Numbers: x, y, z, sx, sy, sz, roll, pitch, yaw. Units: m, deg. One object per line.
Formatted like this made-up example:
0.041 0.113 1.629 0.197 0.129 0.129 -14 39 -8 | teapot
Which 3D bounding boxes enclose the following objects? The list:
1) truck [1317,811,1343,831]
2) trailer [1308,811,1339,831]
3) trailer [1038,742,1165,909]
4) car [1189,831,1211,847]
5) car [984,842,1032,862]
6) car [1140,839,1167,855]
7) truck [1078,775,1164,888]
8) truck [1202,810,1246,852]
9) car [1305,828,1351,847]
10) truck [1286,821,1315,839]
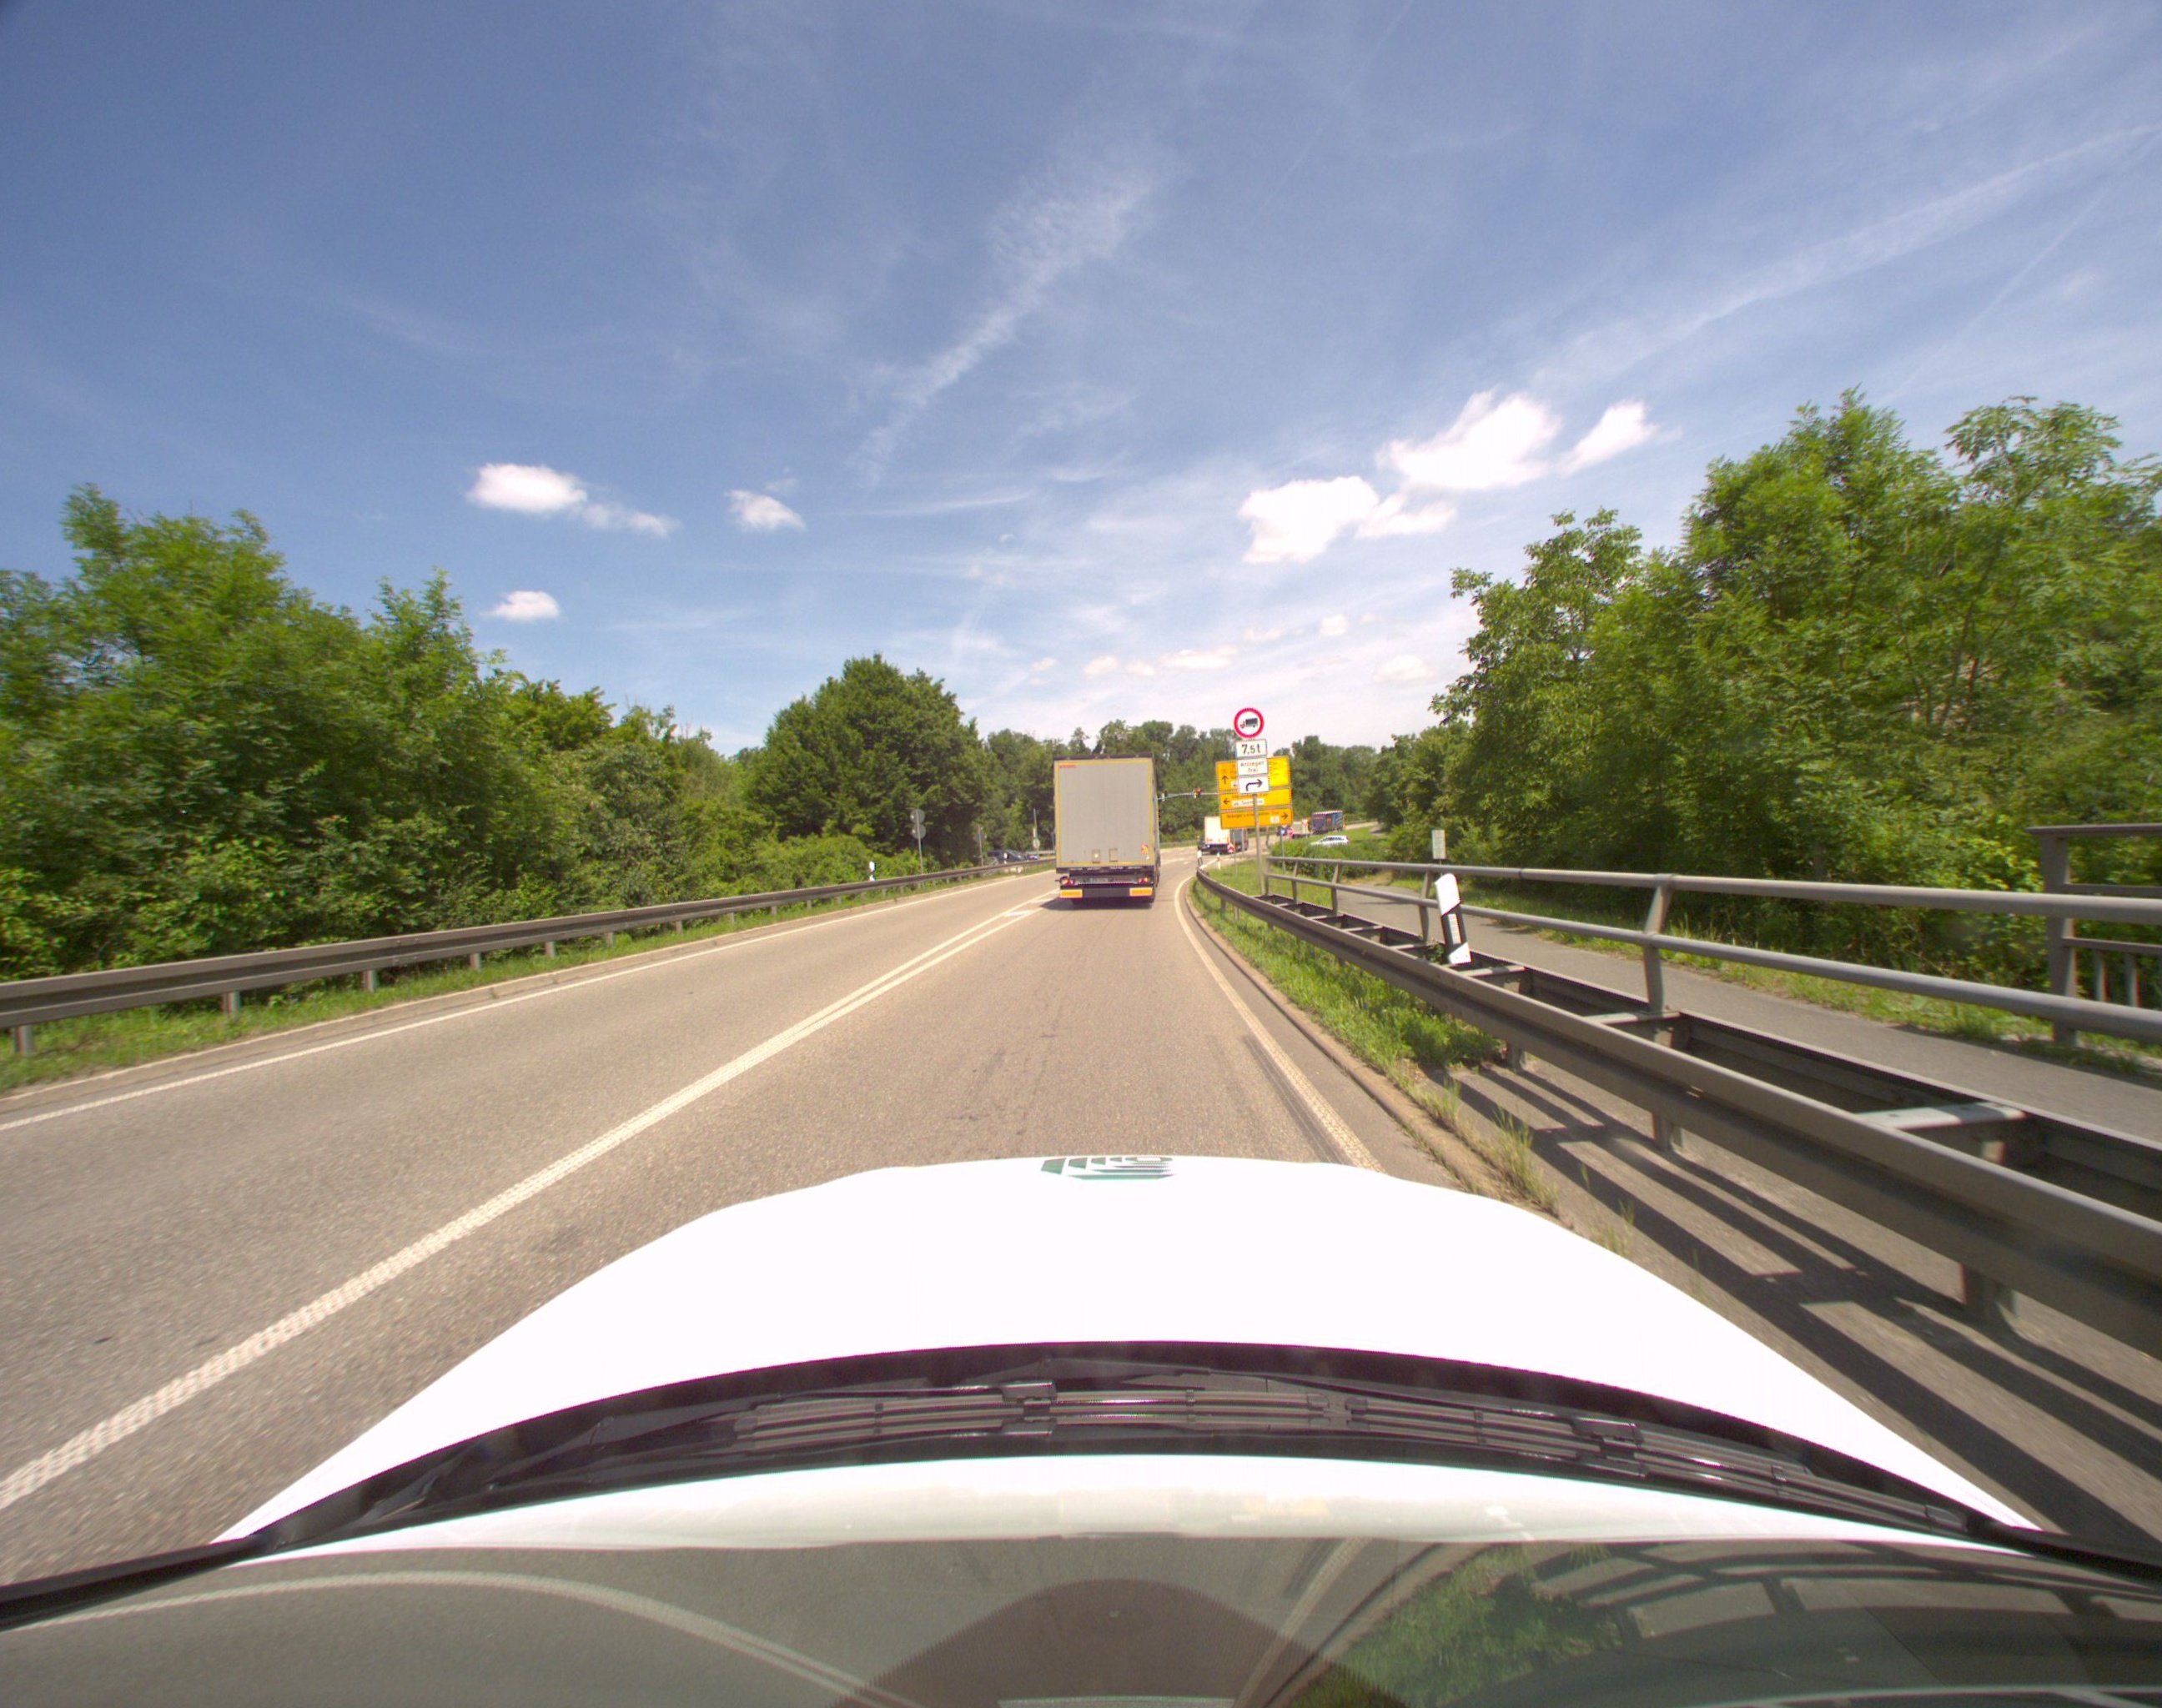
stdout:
48.426 -6.416 158.475 3.220 3.685 6.285 -1 1 32 | truck
46.142 -6.257 154.743 3.220 3.685 9.310 -1 1 32 | trailer
1.110 -0.764 26.497 3.037 4.033 12.579 -2 0 6 | trailer
14.336 -1.804 97.955 1.978 1.785 4.964 -1 -1 17 | car
-7.196 -0.224 80.634 4.198 1.770 2.010 -2 0 19 | car
7.220 -0.680 80.923 1.979 1.519 4.016 -1 -1 15 | car
1.786 -0.855 33.243 3.023 4.033 6.640 -2 0 5 | truck
15.527 -2.365 87.535 3.154 4.029 11.798 -2 0 17 | truck
25.150 -1.658 82.959 4.395 1.718 2.008 -1 -1 15 | car
37.748 -4.188 139.915 2.828 2.947 7.150 -1 1 32 | truck
